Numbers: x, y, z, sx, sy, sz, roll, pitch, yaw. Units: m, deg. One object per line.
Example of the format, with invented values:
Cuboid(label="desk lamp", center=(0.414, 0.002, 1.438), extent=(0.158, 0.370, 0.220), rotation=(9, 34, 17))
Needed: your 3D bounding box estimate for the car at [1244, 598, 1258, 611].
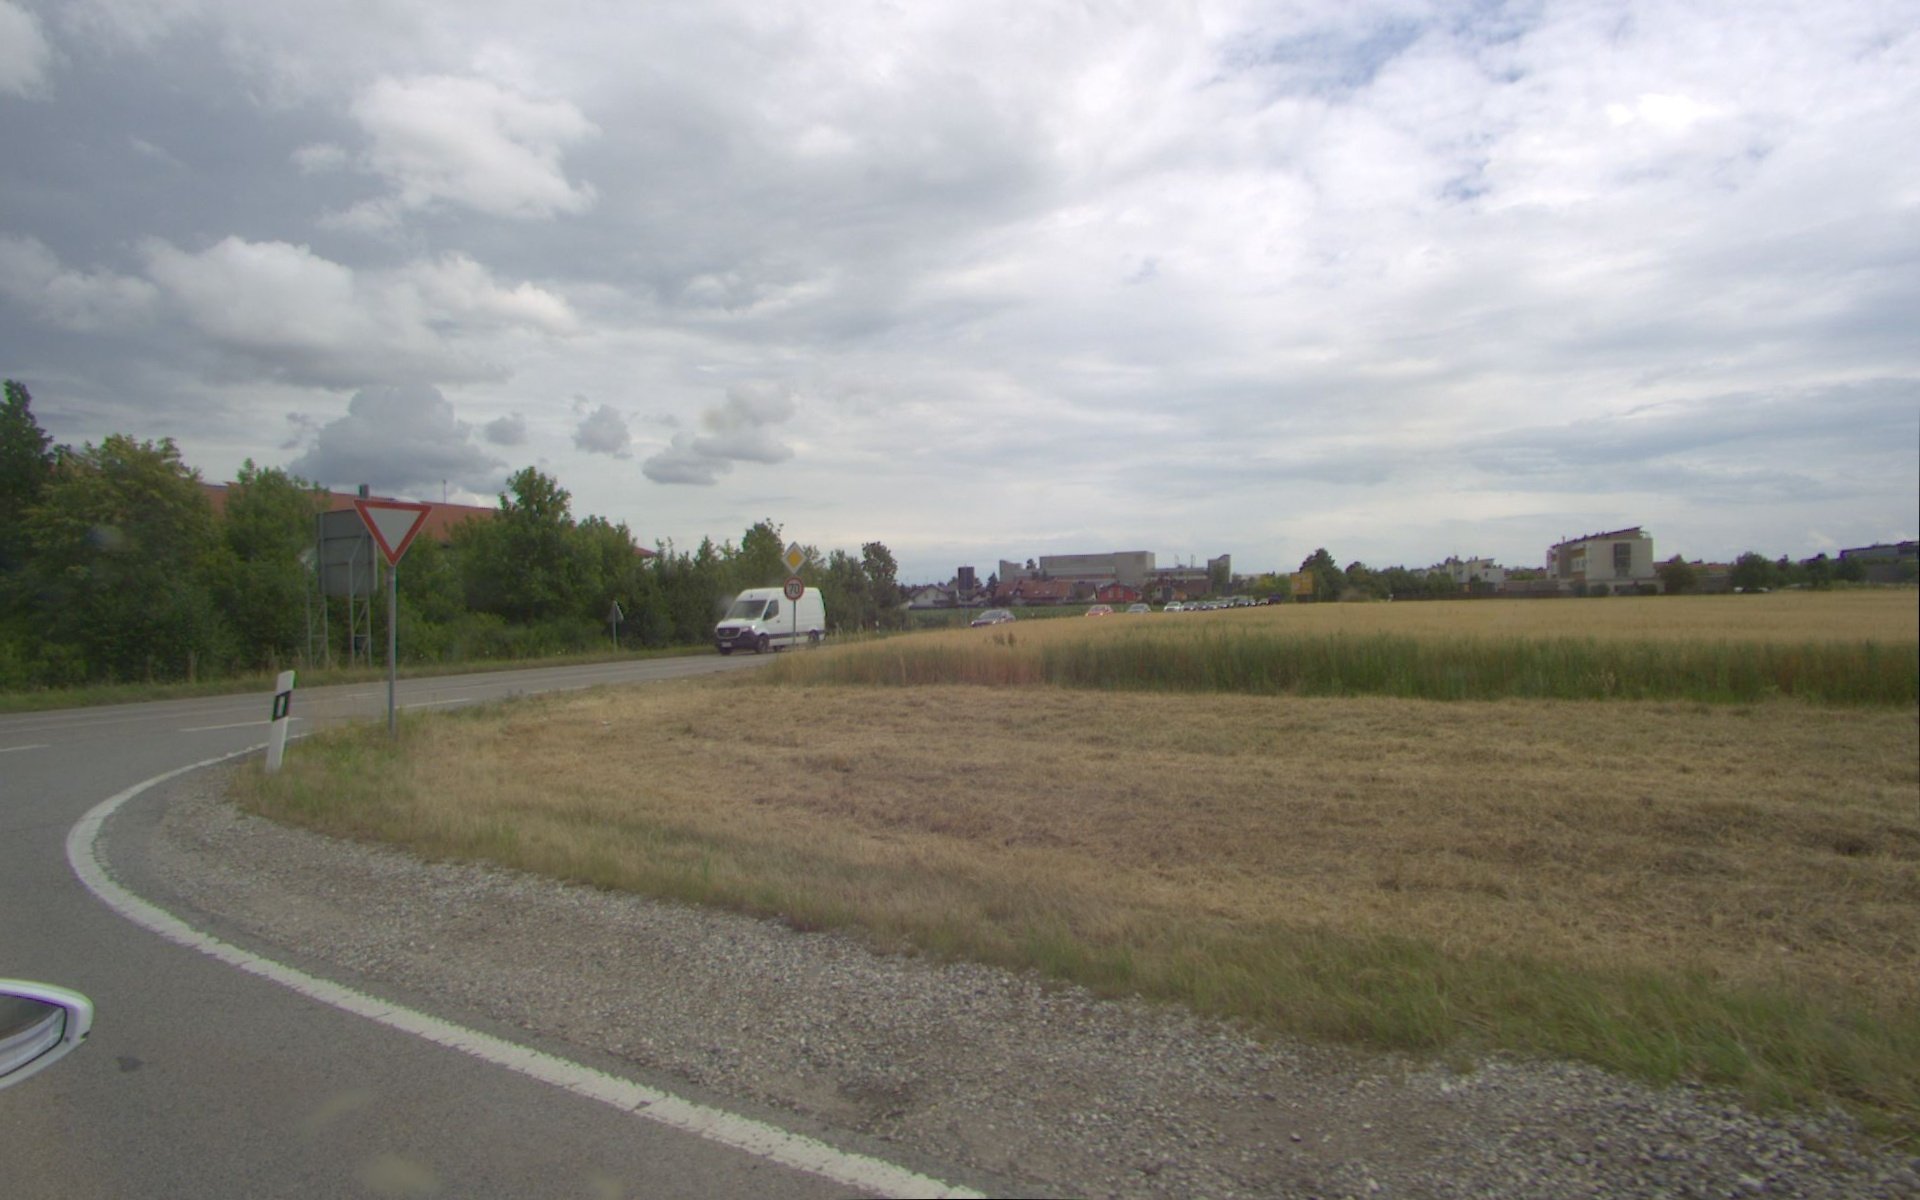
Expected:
Cuboid(label="car", center=(49.555, 0.786, 170.463), extent=(1.966, 2.041, 3.988), rotation=(0, 1, 23))

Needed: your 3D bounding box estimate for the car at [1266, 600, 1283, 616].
Cuboid(label="car", center=(54.234, 1.327, 172.709), extent=(2.114, 2.675, 5.551), rotation=(0, 1, 25))

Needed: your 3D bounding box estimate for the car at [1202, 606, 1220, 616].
Cuboid(label="car", center=(33.691, 1.423, 134.449), extent=(1.825, 1.287, 3.519), rotation=(-1, 0, 23))

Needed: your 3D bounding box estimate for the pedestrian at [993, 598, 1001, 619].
Cuboid(label="pedestrian", center=(3.023, 0.678, 82.487), extent=(0.521, 1.705, 0.626), rotation=(0, 2, 19))

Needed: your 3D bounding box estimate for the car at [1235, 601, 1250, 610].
Cuboid(label="car", center=(45.331, 0.849, 160.537), extent=(1.825, 1.287, 3.519), rotation=(-1, 0, 23))

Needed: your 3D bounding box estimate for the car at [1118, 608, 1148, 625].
Cuboid(label="car", center=(16.216, 1.508, 93.863), extent=(1.825, 1.486, 3.987), rotation=(-1, 0, 24))

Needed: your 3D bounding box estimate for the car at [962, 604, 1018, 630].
Cuboid(label="car", center=(1.895, 1.028, 61.436), extent=(1.967, 1.483, 4.147), rotation=(-2, 0, 24))

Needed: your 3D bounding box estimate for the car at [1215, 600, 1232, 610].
Cuboid(label="car", center=(37.622, 0.690, 142.903), extent=(1.825, 1.287, 3.519), rotation=(-1, 0, 23))

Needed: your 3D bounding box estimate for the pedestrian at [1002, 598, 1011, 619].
Cuboid(label="pedestrian", center=(3.828, 0.674, 82.169), extent=(0.521, 1.705, 0.626), rotation=(0, 2, 19))

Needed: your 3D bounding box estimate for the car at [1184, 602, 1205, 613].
Cuboid(label="car", center=(28.228, 0.897, 120.397), extent=(1.825, 1.287, 3.519), rotation=(-1, 0, 23))

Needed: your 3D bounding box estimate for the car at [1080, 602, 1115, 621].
Cuboid(label="car", center=(11.555, 0.977, 83.944), extent=(1.825, 1.486, 3.987), rotation=(-1, 0, 24))

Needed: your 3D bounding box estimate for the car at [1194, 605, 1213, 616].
Cuboid(label="car", center=(31.101, 1.368, 127.861), extent=(1.825, 1.287, 3.519), rotation=(-1, 0, 23))

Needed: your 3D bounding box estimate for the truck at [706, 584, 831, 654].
Cuboid(label="truck", center=(-7.718, 0.751, 41.169), extent=(1.967, 2.609, 5.999), rotation=(-2, -1, 23))

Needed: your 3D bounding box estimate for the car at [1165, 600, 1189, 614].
Cuboid(label="car", center=(24.218, 0.791, 111.705), extent=(1.825, 1.486, 3.988), rotation=(-1, 0, 23))
